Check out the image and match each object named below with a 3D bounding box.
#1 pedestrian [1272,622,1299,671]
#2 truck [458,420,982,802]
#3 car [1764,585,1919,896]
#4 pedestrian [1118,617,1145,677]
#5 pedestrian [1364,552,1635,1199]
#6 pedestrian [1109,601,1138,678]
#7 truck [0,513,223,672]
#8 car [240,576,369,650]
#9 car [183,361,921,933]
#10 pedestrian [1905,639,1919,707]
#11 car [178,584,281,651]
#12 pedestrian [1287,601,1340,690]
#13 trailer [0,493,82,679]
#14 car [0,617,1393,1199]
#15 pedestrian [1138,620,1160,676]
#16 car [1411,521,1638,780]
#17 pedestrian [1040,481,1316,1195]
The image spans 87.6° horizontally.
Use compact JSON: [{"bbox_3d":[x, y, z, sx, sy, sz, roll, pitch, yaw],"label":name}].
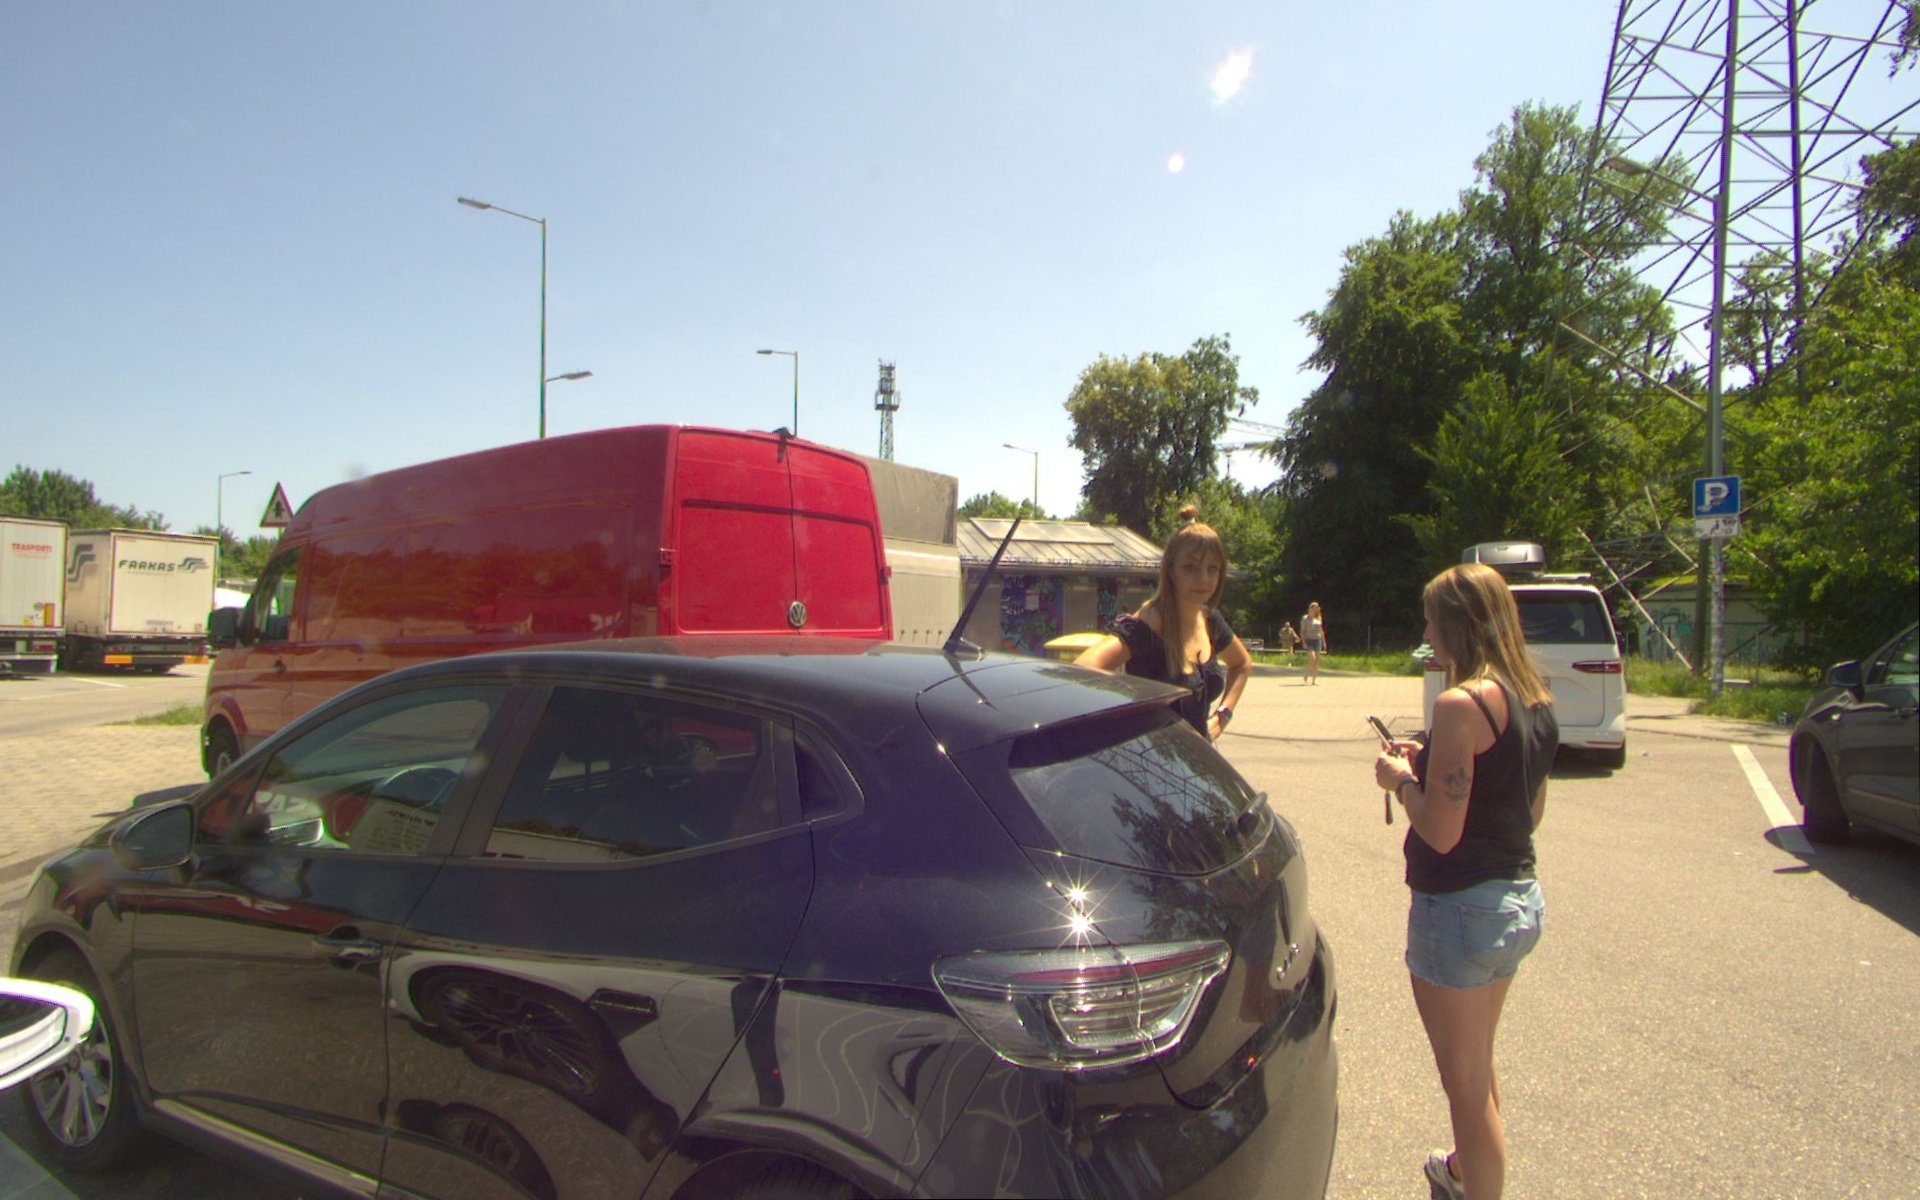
[{"bbox_3d":[13.625,1.959,41.981,0.955,2.039,0.829,0,-1,10],"label":"pedestrian"},{"bbox_3d":[-2.443,0.166,9.891,4.751,2.863,2.514,-1,-2,34],"label":"truck"},{"bbox_3d":[5.981,0.749,5.139,1.808,1.638,4.157,1,-1,23],"label":"car"},{"bbox_3d":[4.290,1.160,25.038,0.521,1.478,0.576,0,0,23],"label":"pedestrian"},{"bbox_3d":[1.206,0.721,2.267,0.478,1.615,0.501,0,0,29],"label":"pedestrian"},{"bbox_3d":[3.876,0.924,23.703,0.520,1.783,0.651,0,0,23],"label":"pedestrian"},{"bbox_3d":[-27.115,-0.032,31.213,11.800,4.279,2.582,-1,-2,32],"label":"truck"},{"bbox_3d":[-29.463,0.592,44.943,6.259,3.114,2.495,0,-1,32],"label":"car"},{"bbox_3d":[-3.377,0.246,7.343,6.298,2.668,1.988,0,-1,36],"label":"car"},{"bbox_3d":[17.118,1.269,17.448,0.694,1.178,0.787,-1,-1,22],"label":"pedestrian"},{"bbox_3d":[-29.933,0.746,41.026,3.943,2.632,2.111,-1,-2,32],"label":"car"},{"bbox_3d":[7.749,0.994,21.967,0.762,1.903,0.840,0,-1,-11],"label":"pedestrian"},{"bbox_3d":[-28.585,-0.349,27.861,12.642,4.511,2.677,0,-1,32],"label":"trailer"},{"bbox_3d":[-0.828,0.820,2.798,3.629,1.476,1.776,-1,-2,28],"label":"car"},{"bbox_3d":[4.671,1.183,24.741,0.439,1.362,0.477,0,0,23],"label":"pedestrian"},{"bbox_3d":[6.642,0.528,11.906,1.901,2.401,4.954,1,-1,29],"label":"car"},{"bbox_3d":[0.714,0.641,3.153,0.481,1.884,0.906,0,-1,39],"label":"pedestrian"}]
